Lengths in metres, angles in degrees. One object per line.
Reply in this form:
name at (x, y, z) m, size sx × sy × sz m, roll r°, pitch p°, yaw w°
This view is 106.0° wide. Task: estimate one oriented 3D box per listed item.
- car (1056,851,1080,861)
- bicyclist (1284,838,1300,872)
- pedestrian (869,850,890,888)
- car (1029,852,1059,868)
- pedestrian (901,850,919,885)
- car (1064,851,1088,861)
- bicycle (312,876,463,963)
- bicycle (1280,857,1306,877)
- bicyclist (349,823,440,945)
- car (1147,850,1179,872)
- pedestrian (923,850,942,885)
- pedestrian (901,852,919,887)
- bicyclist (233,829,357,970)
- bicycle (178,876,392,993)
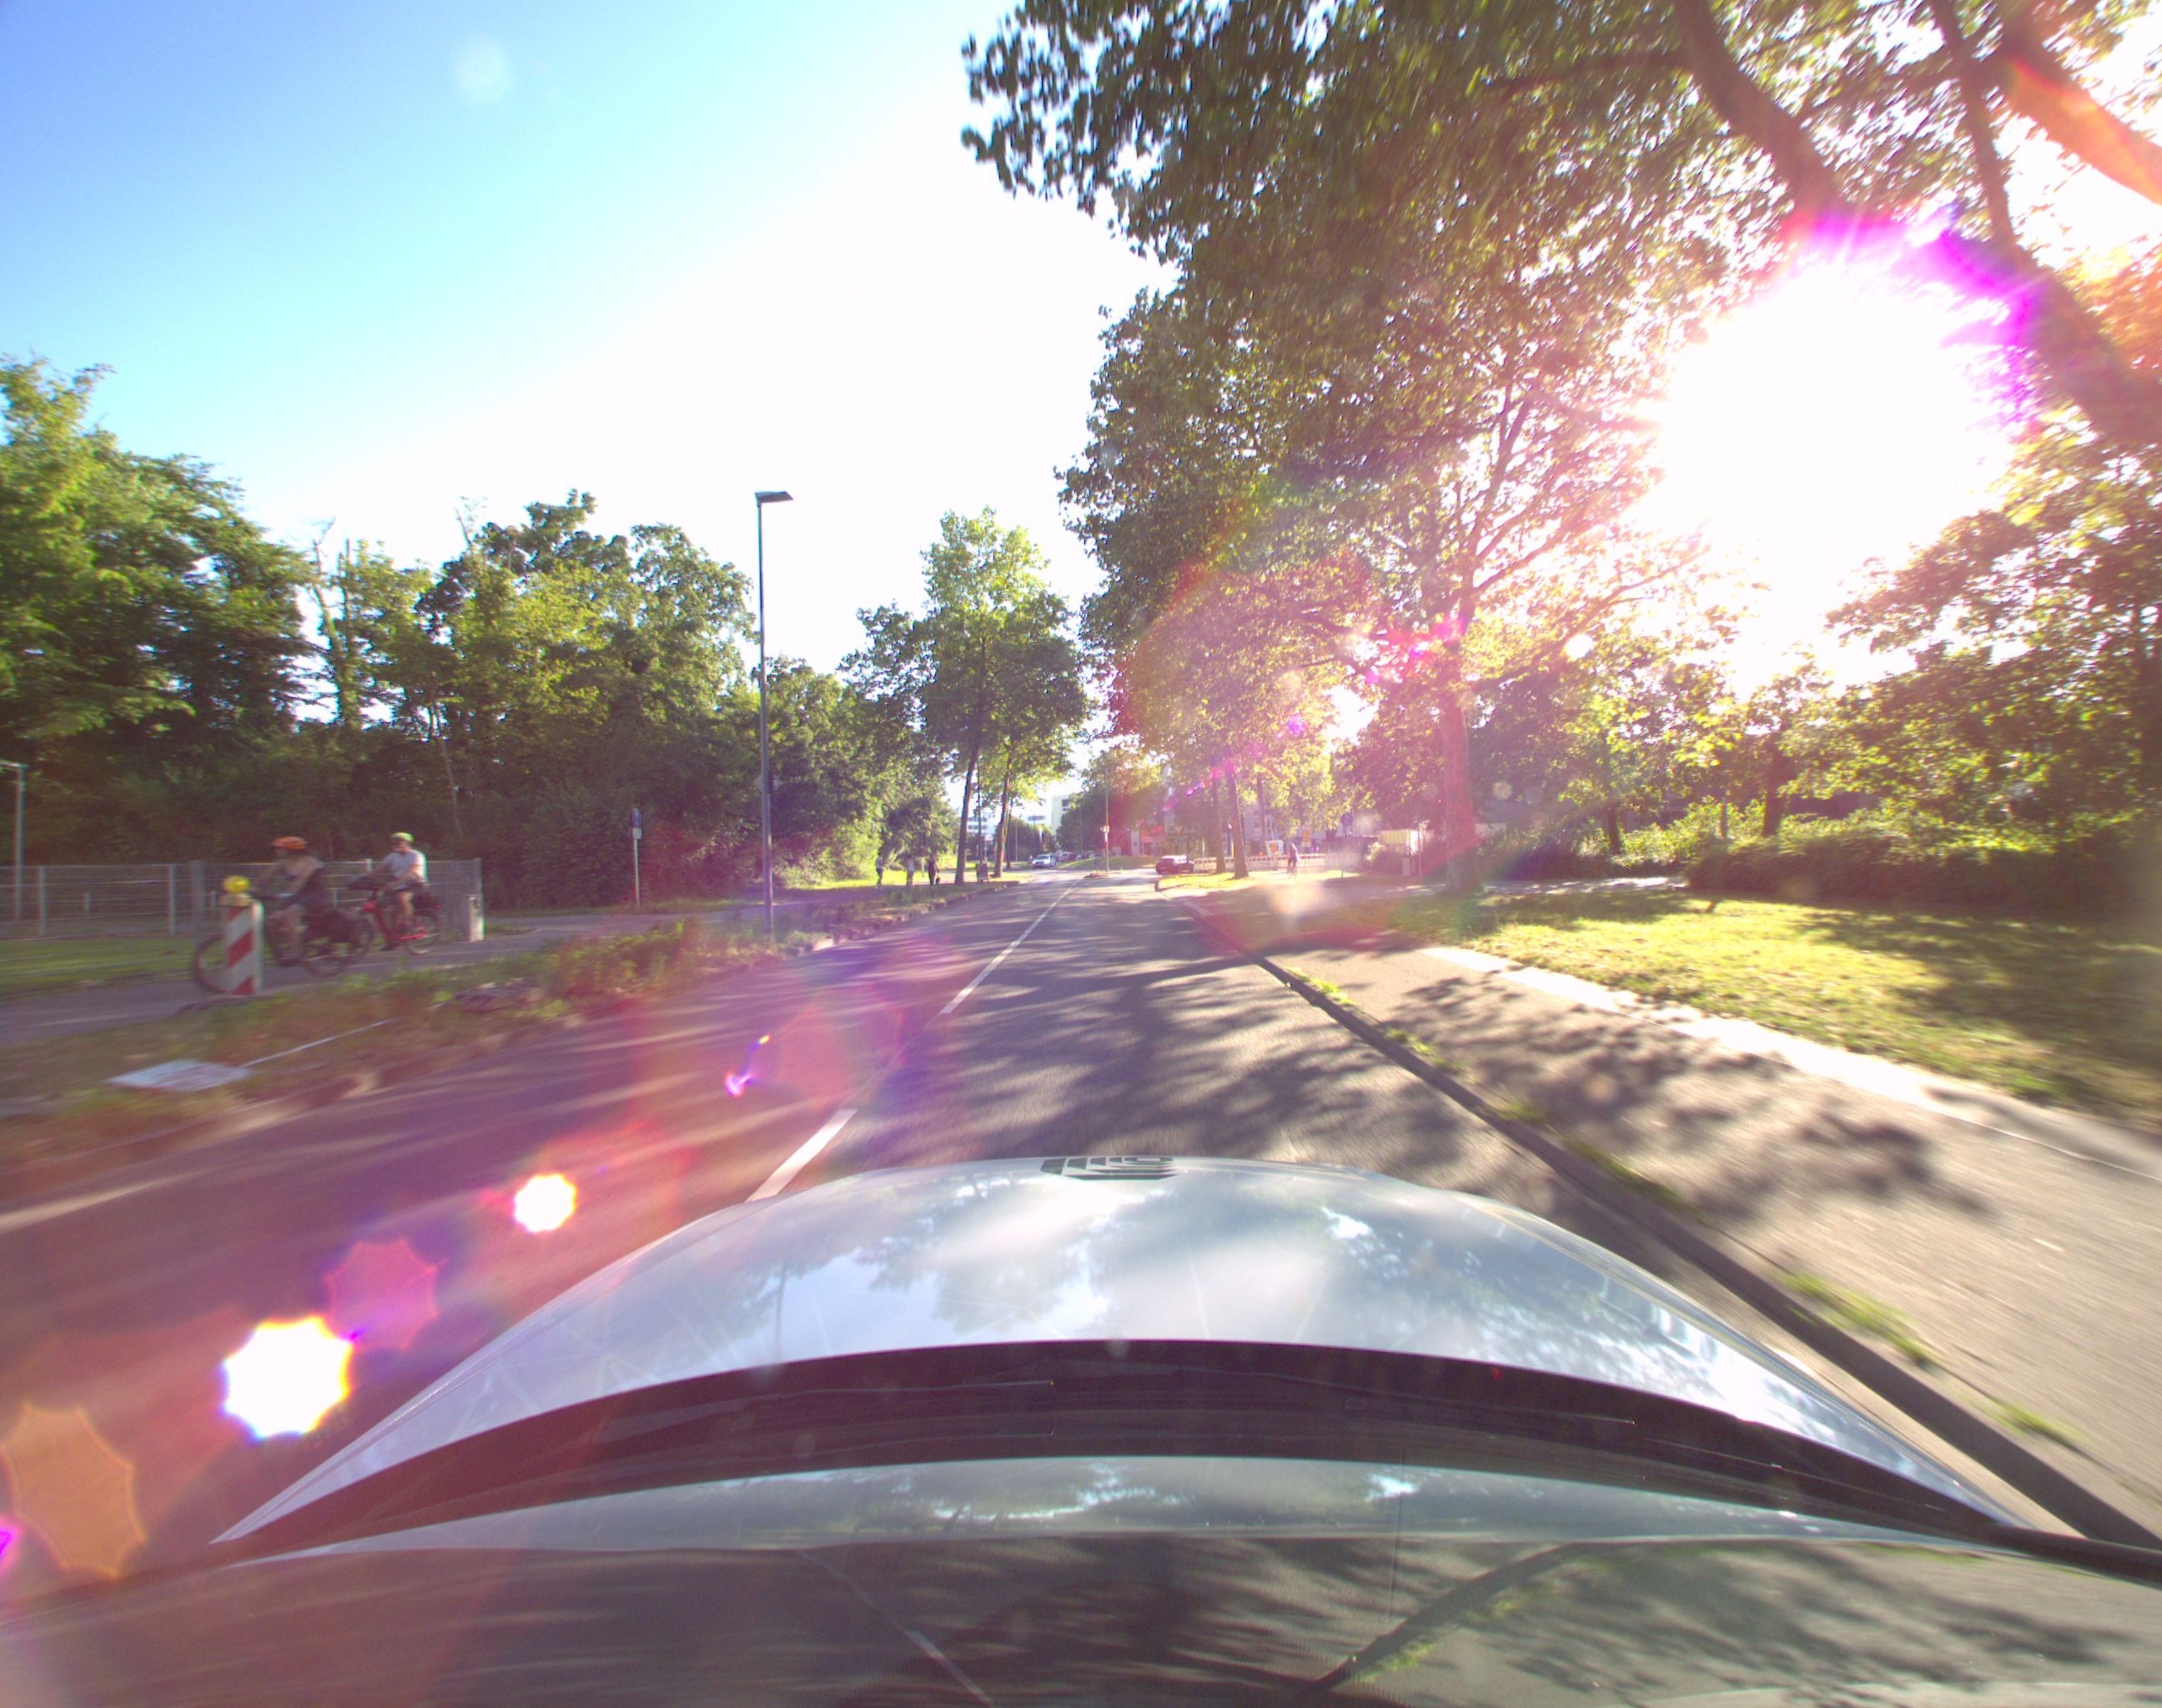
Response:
car at (-2.383, 0.347, 150.155) m, size 4.010 × 1.747 × 1.779 m, roll 0°, pitch 0°, yaw -28°
bicyclist at (10.890, 0.042, 42.019) m, size 0.648 × 1.705 × 0.872 m, roll 0°, pitch 0°, yaw 2°
pedestrian at (-9.543, 0.708, 38.538) m, size 0.626 × 1.739 × 0.668 m, roll -1°, pitch 0°, yaw 26°
car at (-3.974, 0.650, 88.322) m, size 1.978 × 1.578 × 4.017 m, roll -1°, pitch 0°, yaw 16°
pedestrian at (-8.582, 0.686, 40.878) m, size 0.662 × 1.739 × 0.752 m, roll -1°, pitch 0°, yaw 3°
car at (-0.957, 0.362, 147.408) m, size 4.010 × 1.747 × 1.779 m, roll 0°, pitch 0°, yaw -28°
bicycle at (-10.725, 0.971, 12.708) m, size 0.577 × 1.186 × 2.033 m, roll -1°, pitch 0°, yaw 1°
bicycle at (10.879, 0.676, 41.896) m, size 0.767 × 0.964 × 2.175 m, roll -3°, pitch -1°, yaw 2°
bicyclist at (-10.725, 0.452, 12.746) m, size 0.577 × 1.832 × 0.968 m, roll -1°, pitch 0°, yaw 1°
car at (6.581, 0.531, 64.848) m, size 1.825 × 1.605 × 3.879 m, roll -1°, pitch 0°, yaw 16°
pedestrian at (-7.448, 0.658, 40.890) m, size 0.745 × 1.739 × 0.852 m, roll -1°, pitch 0°, yaw 3°
pedestrian at (-8.133, 0.726, 38.736) m, size 0.569 × 1.638 × 0.638 m, roll -1°, pitch 0°, yaw 41°
bicyclist at (-9.911, 0.545, 10.304) m, size 0.577 × 1.679 × 0.971 m, roll -1°, pitch 0°, yaw 1°
bicycle at (-9.903, 0.940, 10.270) m, size 0.577 × 1.245 × 2.108 m, roll -1°, pitch 0°, yaw 1°
